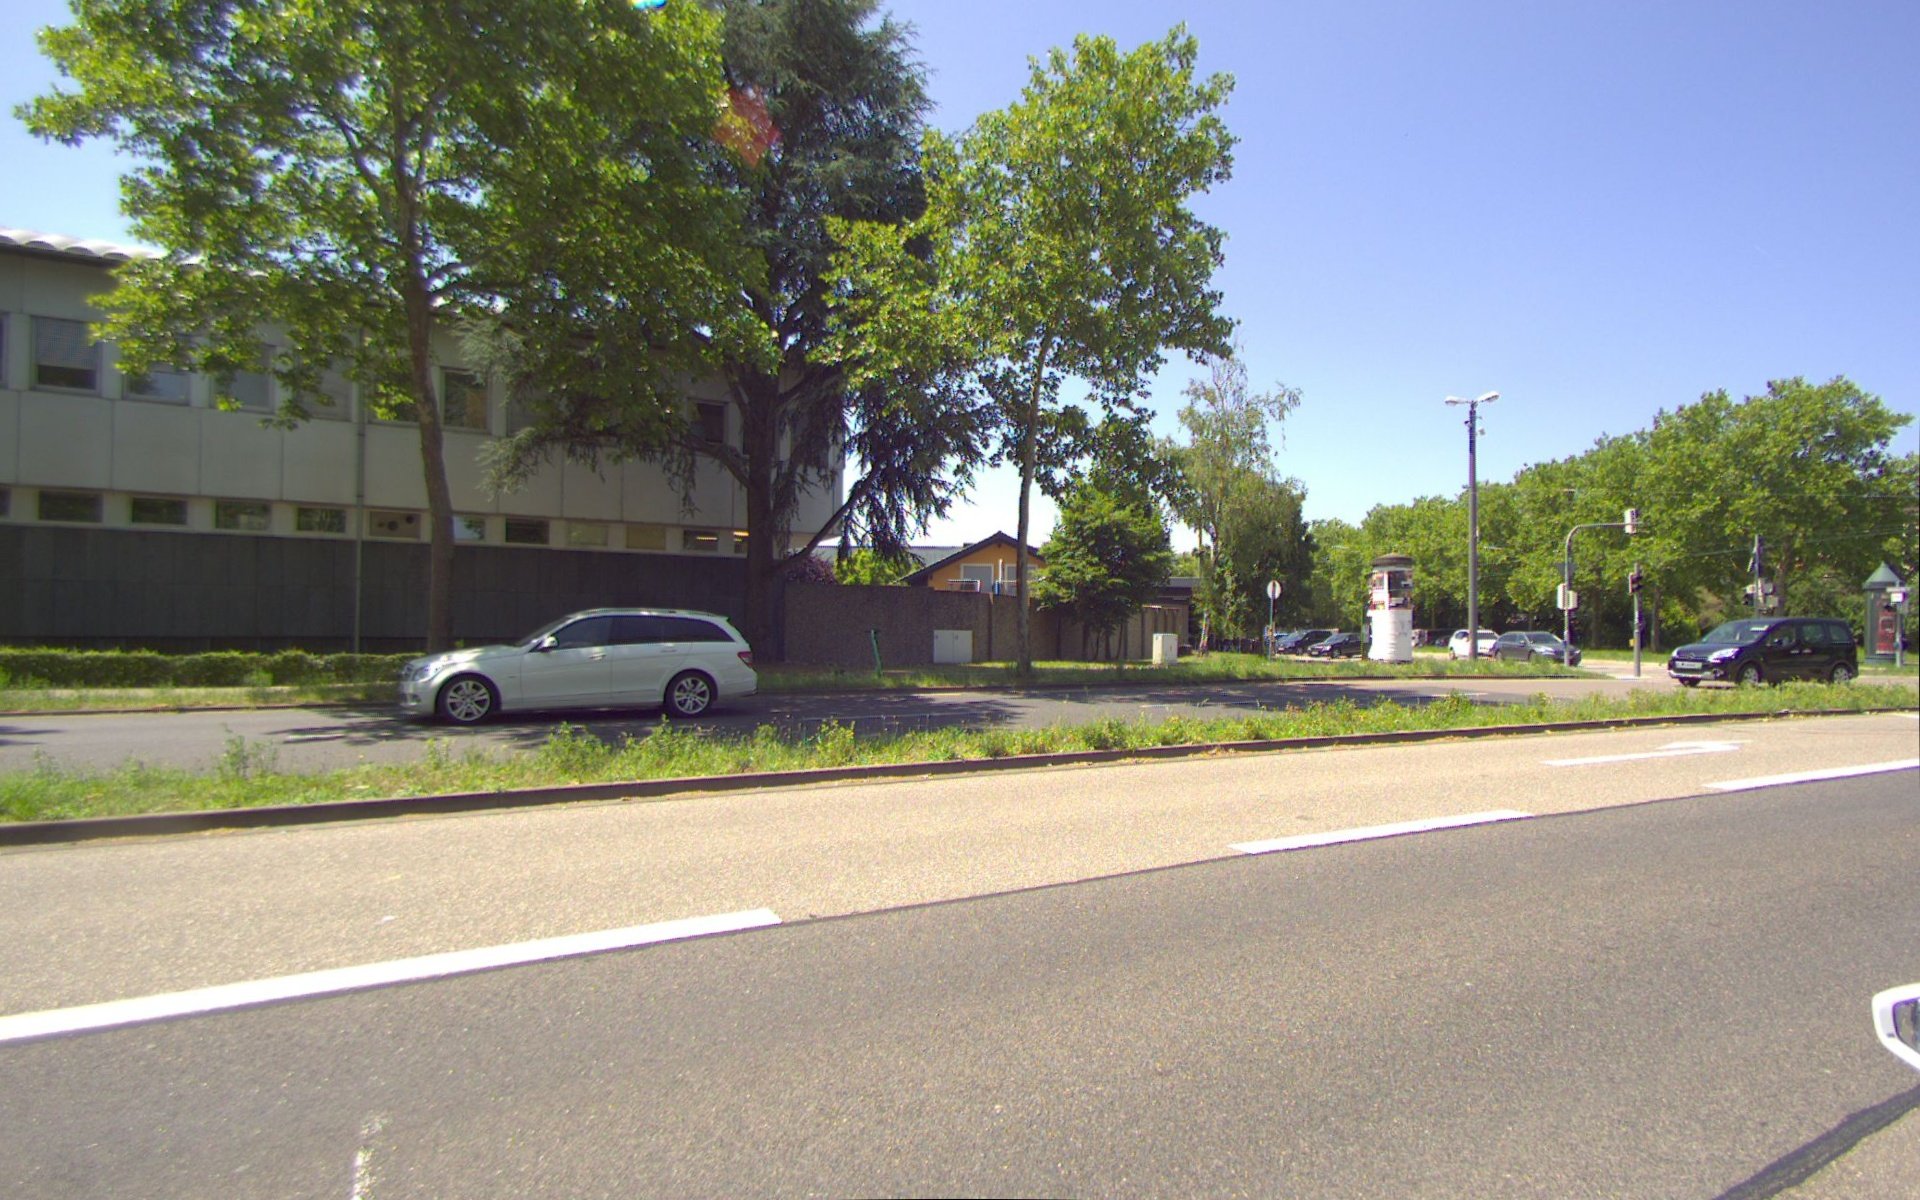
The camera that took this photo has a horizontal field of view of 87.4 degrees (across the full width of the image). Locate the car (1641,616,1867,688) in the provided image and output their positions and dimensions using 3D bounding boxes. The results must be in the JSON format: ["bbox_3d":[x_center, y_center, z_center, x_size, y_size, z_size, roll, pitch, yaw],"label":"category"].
[{"bbox_3d":[19.858,1.294,25.234,4.360,1.701,1.916,1,-1,-6],"label":"car"}]

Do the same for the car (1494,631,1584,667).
[{"bbox_3d":[25.165,2.103,43.806,1.729,1.476,3.994,0,-1,2],"label":"car"}]

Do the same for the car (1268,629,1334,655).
[{"bbox_3d":[22.662,2.779,66.761,4.138,1.672,1.773,1,-2,-26],"label":"car"}]

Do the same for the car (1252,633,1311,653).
[{"bbox_3d":[24.371,3.250,76.154,4.004,1.442,1.936,1,-2,-24],"label":"car"}]

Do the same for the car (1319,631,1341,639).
[{"bbox_3d":[49.819,4.708,135.310,2.667,1.007,1.009,1,-1,-1],"label":"car"}]

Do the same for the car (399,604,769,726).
[{"bbox_3d":[-5.077,0.829,13.768,4.491,1.437,1.846,1,-2,-28],"label":"car"}]

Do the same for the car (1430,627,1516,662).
[{"bbox_3d":[25.648,2.200,50.425,2.172,1.626,4.463,0,-1,2],"label":"car"}]
